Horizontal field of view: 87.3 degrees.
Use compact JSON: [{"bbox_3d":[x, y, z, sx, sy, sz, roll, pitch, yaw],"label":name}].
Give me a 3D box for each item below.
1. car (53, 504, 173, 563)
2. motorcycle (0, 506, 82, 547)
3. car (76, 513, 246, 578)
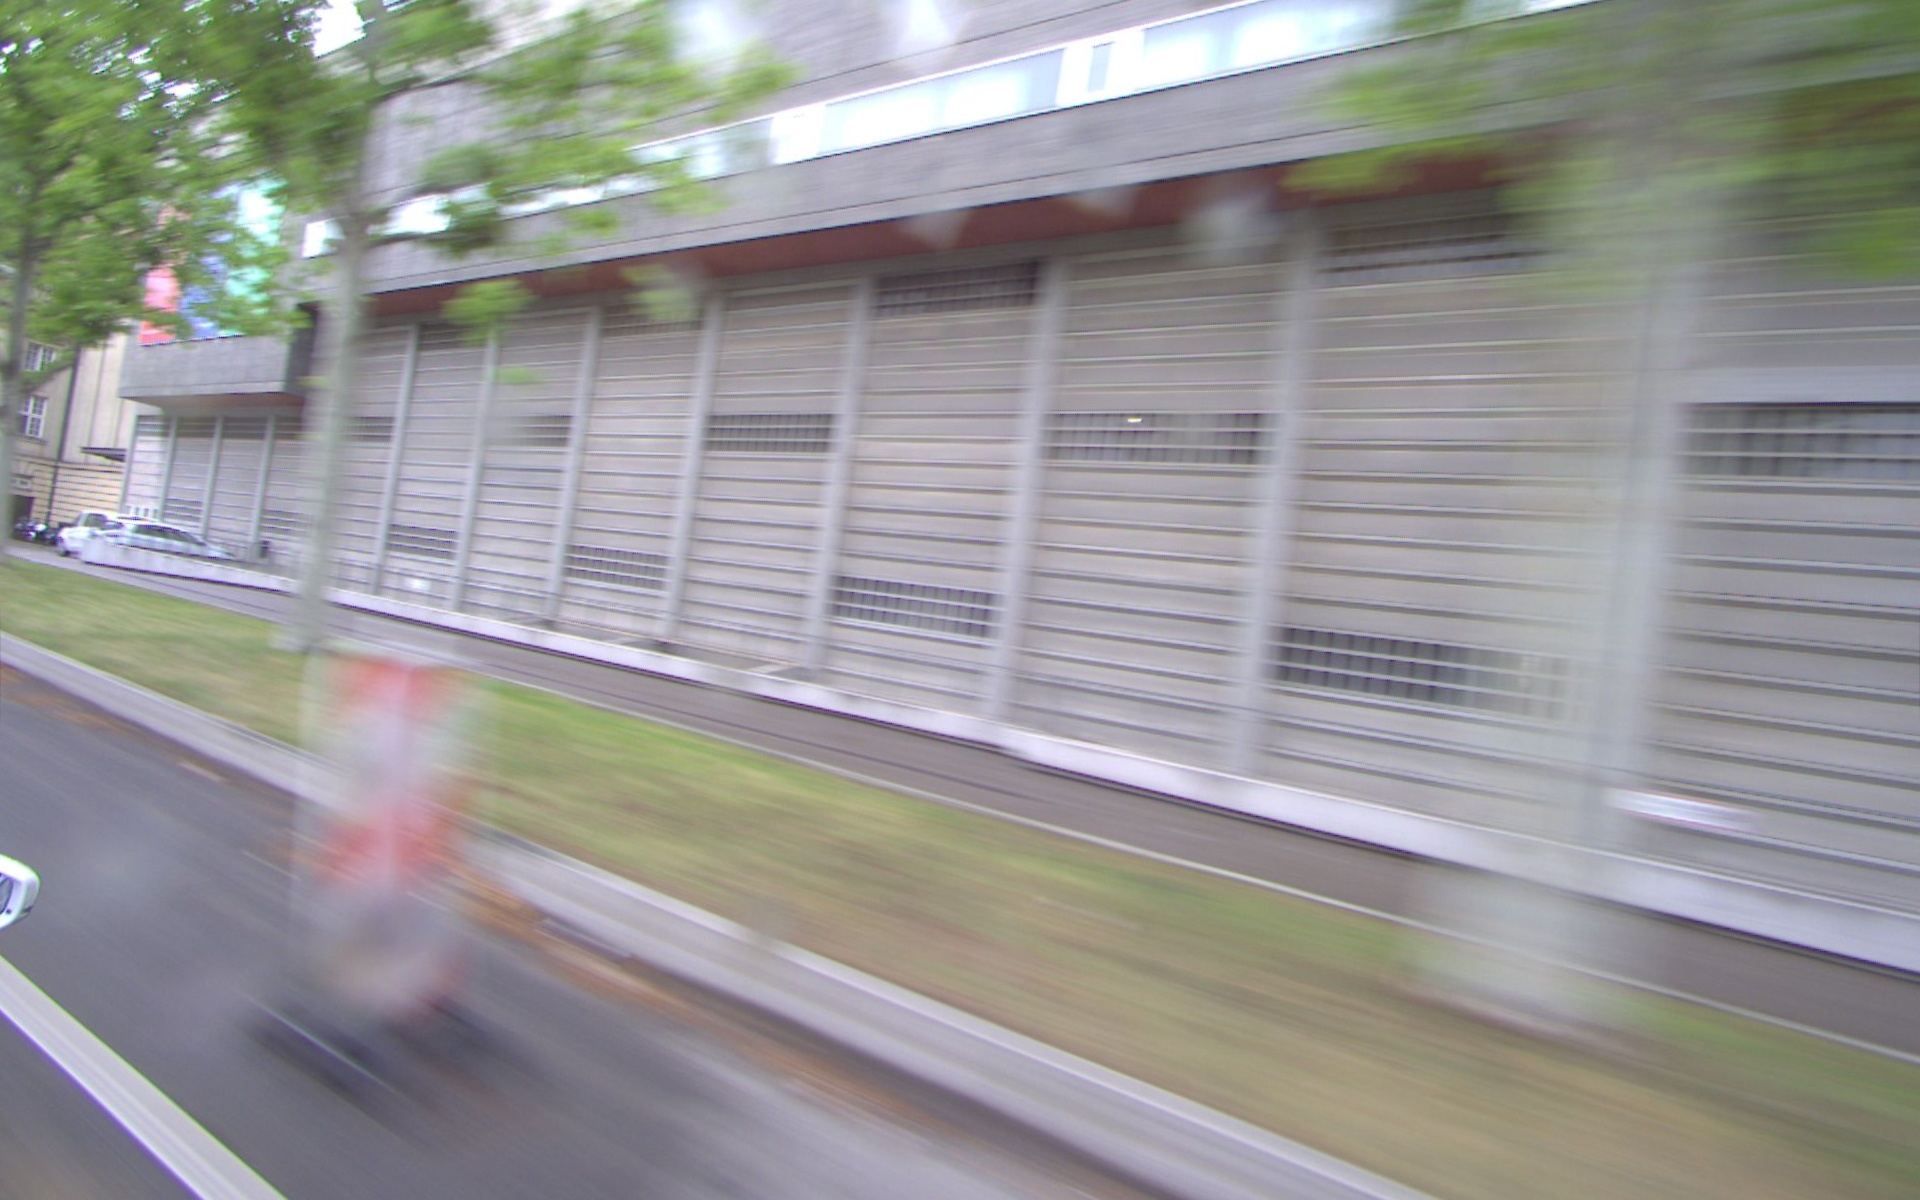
[{"bbox_3d":[-32.735,-2.572,38.829,5.014,1.779,1.998,5,-3,32],"label":"car"},{"bbox_3d":[-50.186,-3.983,54.708,1.134,1.546,3.360,5,-6,33],"label":"motorcycle"},{"bbox_3d":[-26.722,-1.800,33.766,1.902,1.577,3.994,4,-3,32],"label":"car"}]
